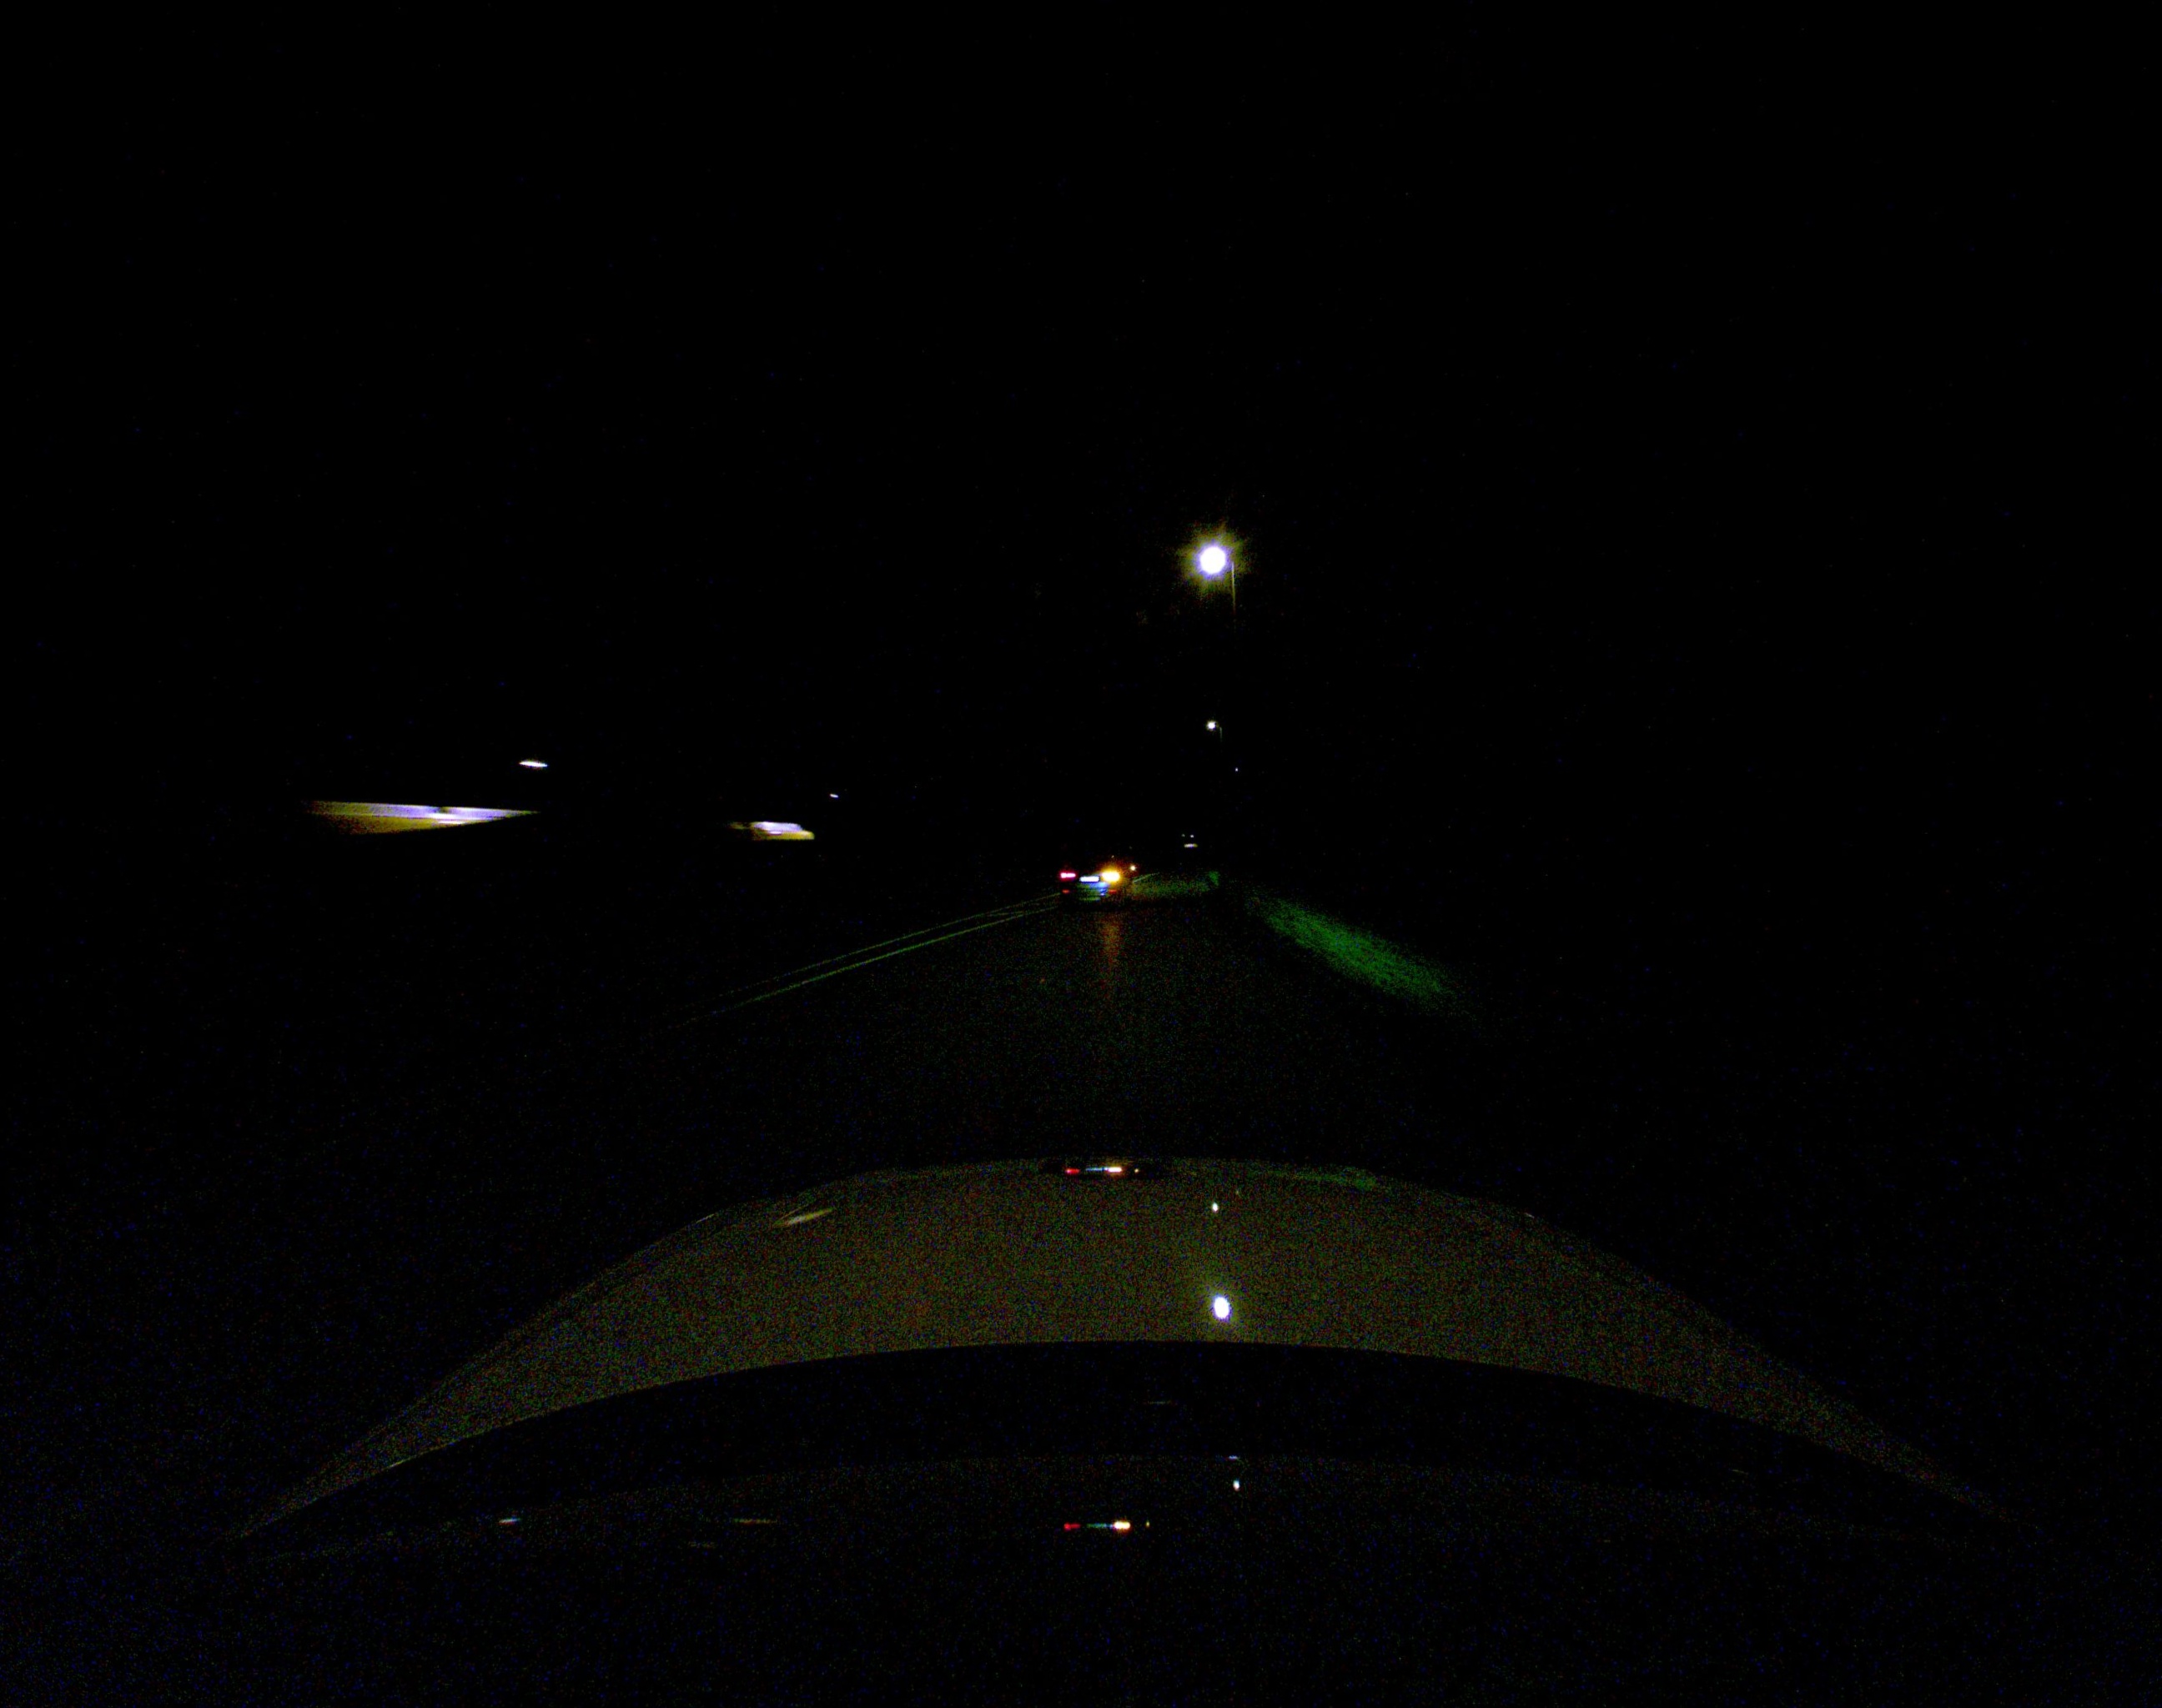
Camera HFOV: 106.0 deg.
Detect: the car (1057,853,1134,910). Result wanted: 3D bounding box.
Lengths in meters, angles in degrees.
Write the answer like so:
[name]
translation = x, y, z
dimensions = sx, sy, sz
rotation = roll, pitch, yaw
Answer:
[car]
translation = 0.517, 0.759, 24.390
dimensions = 1.804, 1.573, 3.952
rotation = 0, 0, 8
